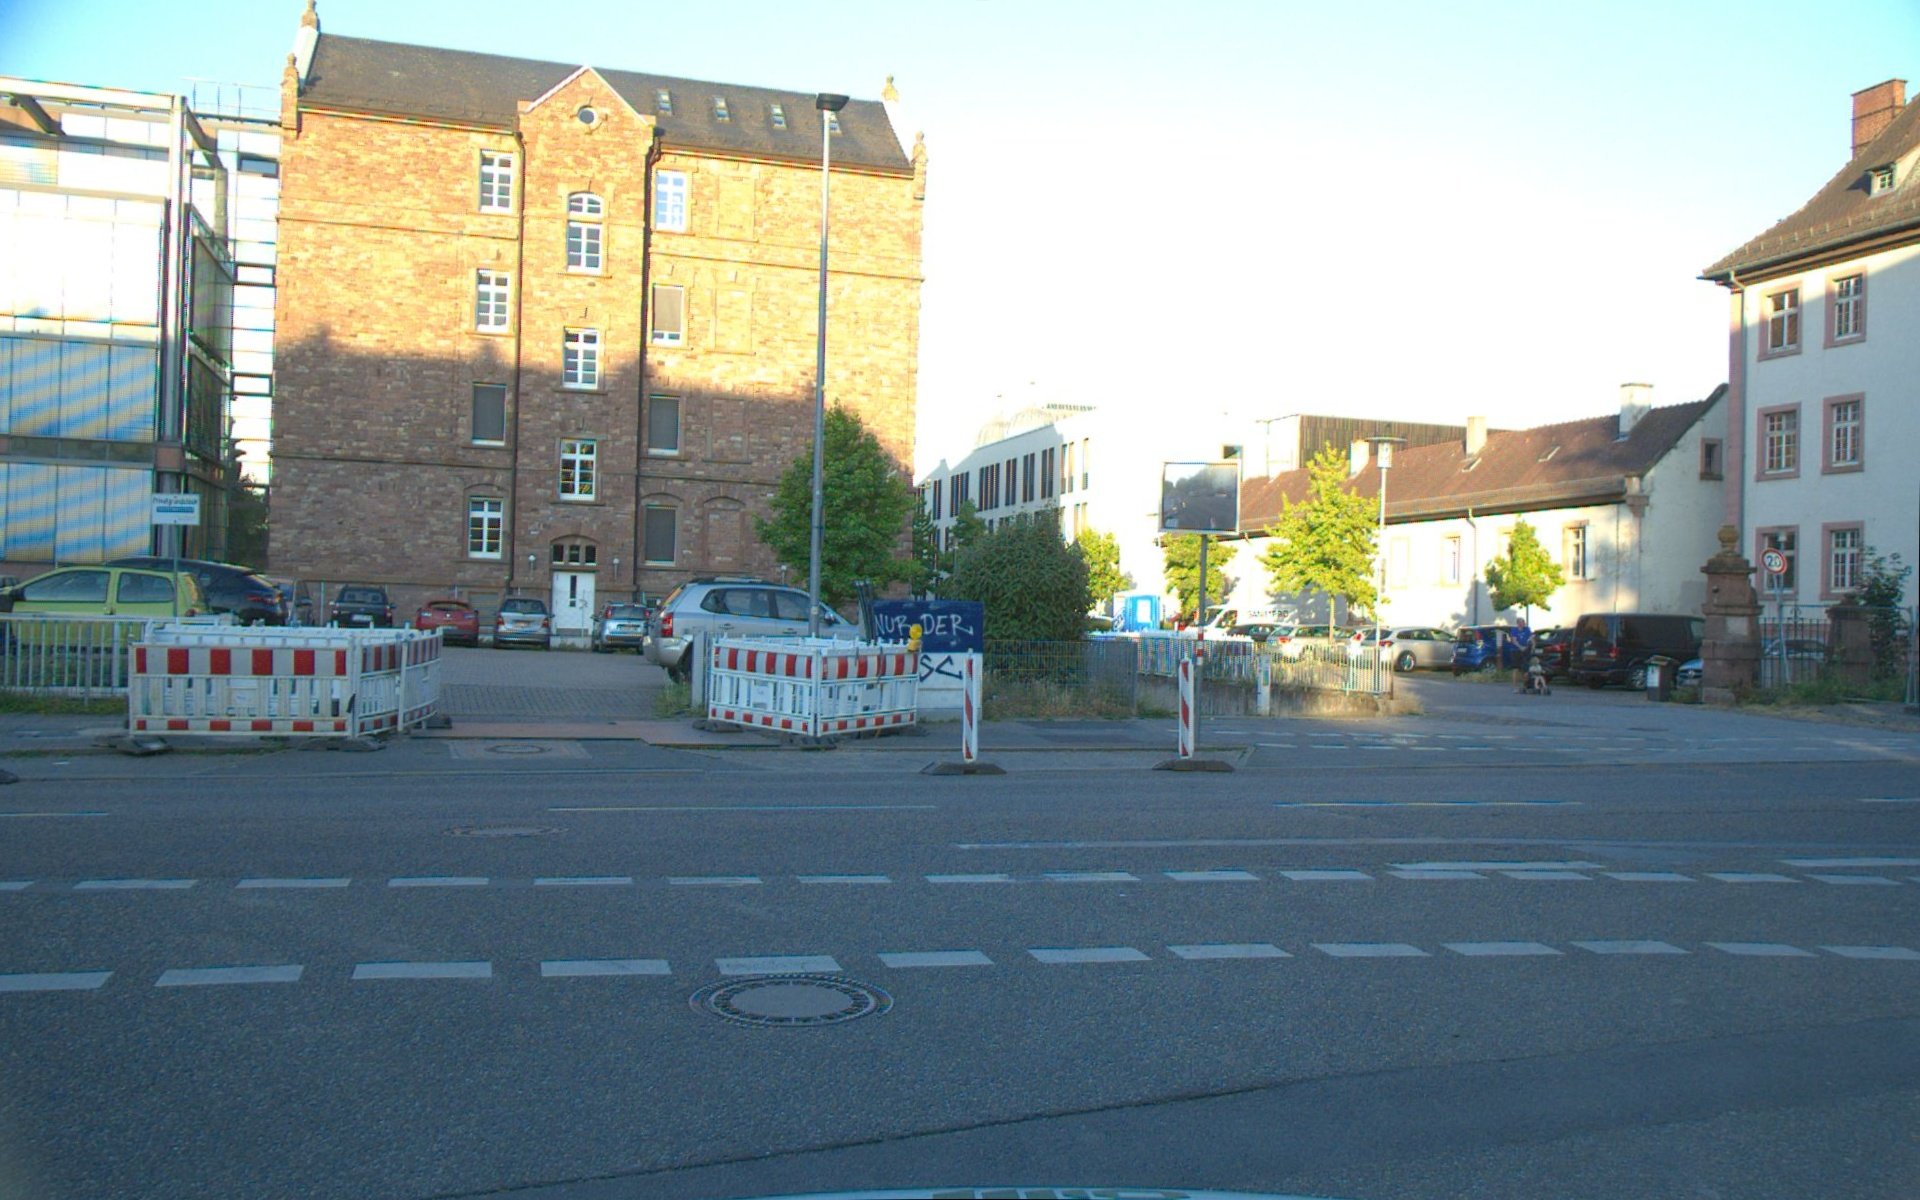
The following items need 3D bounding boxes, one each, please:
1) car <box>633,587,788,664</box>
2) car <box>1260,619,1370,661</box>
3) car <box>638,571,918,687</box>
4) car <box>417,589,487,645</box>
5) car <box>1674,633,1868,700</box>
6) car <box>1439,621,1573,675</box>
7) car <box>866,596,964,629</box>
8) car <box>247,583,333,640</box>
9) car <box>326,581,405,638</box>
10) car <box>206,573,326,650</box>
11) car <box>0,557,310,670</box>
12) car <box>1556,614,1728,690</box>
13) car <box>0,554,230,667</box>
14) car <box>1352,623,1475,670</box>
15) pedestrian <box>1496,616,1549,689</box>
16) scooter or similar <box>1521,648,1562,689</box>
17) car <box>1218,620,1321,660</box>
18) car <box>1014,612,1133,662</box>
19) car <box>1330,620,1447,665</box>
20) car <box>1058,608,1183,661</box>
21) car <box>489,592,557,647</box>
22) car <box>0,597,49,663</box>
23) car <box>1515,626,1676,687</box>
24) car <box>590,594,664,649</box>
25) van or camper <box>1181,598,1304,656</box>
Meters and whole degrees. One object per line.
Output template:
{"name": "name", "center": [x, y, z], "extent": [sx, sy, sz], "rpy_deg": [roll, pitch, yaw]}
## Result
{"name": "car", "center": [-5.952, 0.604, 39.433], "extent": [3.421, 1.738, 1.660], "rpy_deg": [1, 0, -18]}
{"name": "car", "center": [13.224, 1.488, 61.631], "extent": [3.685, 1.471, 1.677], "rpy_deg": [2, -1, -20]}
{"name": "car", "center": [-2.932, 0.479, 26.558], "extent": [4.202, 1.738, 1.694], "rpy_deg": [1, 0, -18]}
{"name": "car", "center": [-15.122, 0.494, 49.391], "extent": [1.866, 1.564, 4.161], "rpy_deg": [2, 0, -16]}
{"name": "car", "center": [19.193, 1.569, 39.179], "extent": [3.928, 1.484, 1.988], "rpy_deg": [2, -1, -20]}
{"name": "car", "center": [16.855, 1.468, 51.072], "extent": [3.685, 1.556, 1.677], "rpy_deg": [2, -1, -20]}
{"name": "car", "center": [-1.960, 0.543, 72.026], "extent": [3.924, 1.336, 1.868], "rpy_deg": [1, -1, -18]}
{"name": "car", "center": [-19.566, 0.312, 48.455], "extent": [1.866, 1.564, 4.161], "rpy_deg": [2, 0, -16]}
{"name": "car", "center": [-17.553, 0.276, 48.985], "extent": [1.866, 1.564, 4.161], "rpy_deg": [2, 0, -16]}
{"name": "car", "center": [-15.705, 0.245, 37.633], "extent": [1.961, 1.604, 4.345], "rpy_deg": [2, 0, -16]}
{"name": "car", "center": [-12.822, 0.219, 26.197], "extent": [4.507, 1.666, 1.569], "rpy_deg": [1, 0, -15]}
{"name": "car", "center": [18.071, 1.371, 43.881], "extent": [3.928, 1.891, 1.988], "rpy_deg": [2, -1, -20]}
{"name": "car", "center": [-12.580, 0.145, 23.763], "extent": [3.571, 1.530, 1.630], "rpy_deg": [1, 0, -15]}
{"name": "car", "center": [15.197, 1.549, 55.436], "extent": [3.685, 1.471, 1.677], "rpy_deg": [2, -1, -20]}
{"name": "pedestrian", "center": [13.195, 1.221, 38.817], "extent": [0.737, 1.671, 1.010], "rpy_deg": [2, -1, -16]}
{"name": "scooter or similar", "center": [13.322, 1.570, 37.904], "extent": [0.505, 0.906, 0.802], "rpy_deg": [2, -1, -16]}
{"name": "car", "center": [12.297, 1.589, 65.704], "extent": [3.685, 1.471, 1.677], "rpy_deg": [2, -1, -20]}
{"name": "car", "center": [3.872, 1.263, 56.454], "extent": [3.685, 1.631, 1.677], "rpy_deg": [2, -1, -20]}
{"name": "car", "center": [15.007, 1.472, 57.980], "extent": [3.685, 1.471, 1.677], "rpy_deg": [2, -1, -20]}
{"name": "car", "center": [5.215, 1.133, 53.703], "extent": [3.685, 1.631, 1.677], "rpy_deg": [1, -1, -20]}
{"name": "car", "center": [-13.286, 0.559, 50.163], "extent": [1.866, 1.564, 4.161], "rpy_deg": [2, 0, -16]}
{"name": "car", "center": [-21.211, 0.615, 35.498], "extent": [1.908, 1.328, 4.345], "rpy_deg": [2, 0, -16]}
{"name": "car", "center": [17.862, 1.577, 46.528], "extent": [3.928, 1.600, 1.988], "rpy_deg": [2, -1, -20]}
{"name": "car", "center": [-10.279, 0.635, 50.878], "extent": [1.866, 1.564, 4.161], "rpy_deg": [2, 0, -16]}
{"name": "van or camper", "center": [11.792, 1.122, 69.031], "extent": [4.889, 2.280, 1.677], "rpy_deg": [2, -1, -20]}
